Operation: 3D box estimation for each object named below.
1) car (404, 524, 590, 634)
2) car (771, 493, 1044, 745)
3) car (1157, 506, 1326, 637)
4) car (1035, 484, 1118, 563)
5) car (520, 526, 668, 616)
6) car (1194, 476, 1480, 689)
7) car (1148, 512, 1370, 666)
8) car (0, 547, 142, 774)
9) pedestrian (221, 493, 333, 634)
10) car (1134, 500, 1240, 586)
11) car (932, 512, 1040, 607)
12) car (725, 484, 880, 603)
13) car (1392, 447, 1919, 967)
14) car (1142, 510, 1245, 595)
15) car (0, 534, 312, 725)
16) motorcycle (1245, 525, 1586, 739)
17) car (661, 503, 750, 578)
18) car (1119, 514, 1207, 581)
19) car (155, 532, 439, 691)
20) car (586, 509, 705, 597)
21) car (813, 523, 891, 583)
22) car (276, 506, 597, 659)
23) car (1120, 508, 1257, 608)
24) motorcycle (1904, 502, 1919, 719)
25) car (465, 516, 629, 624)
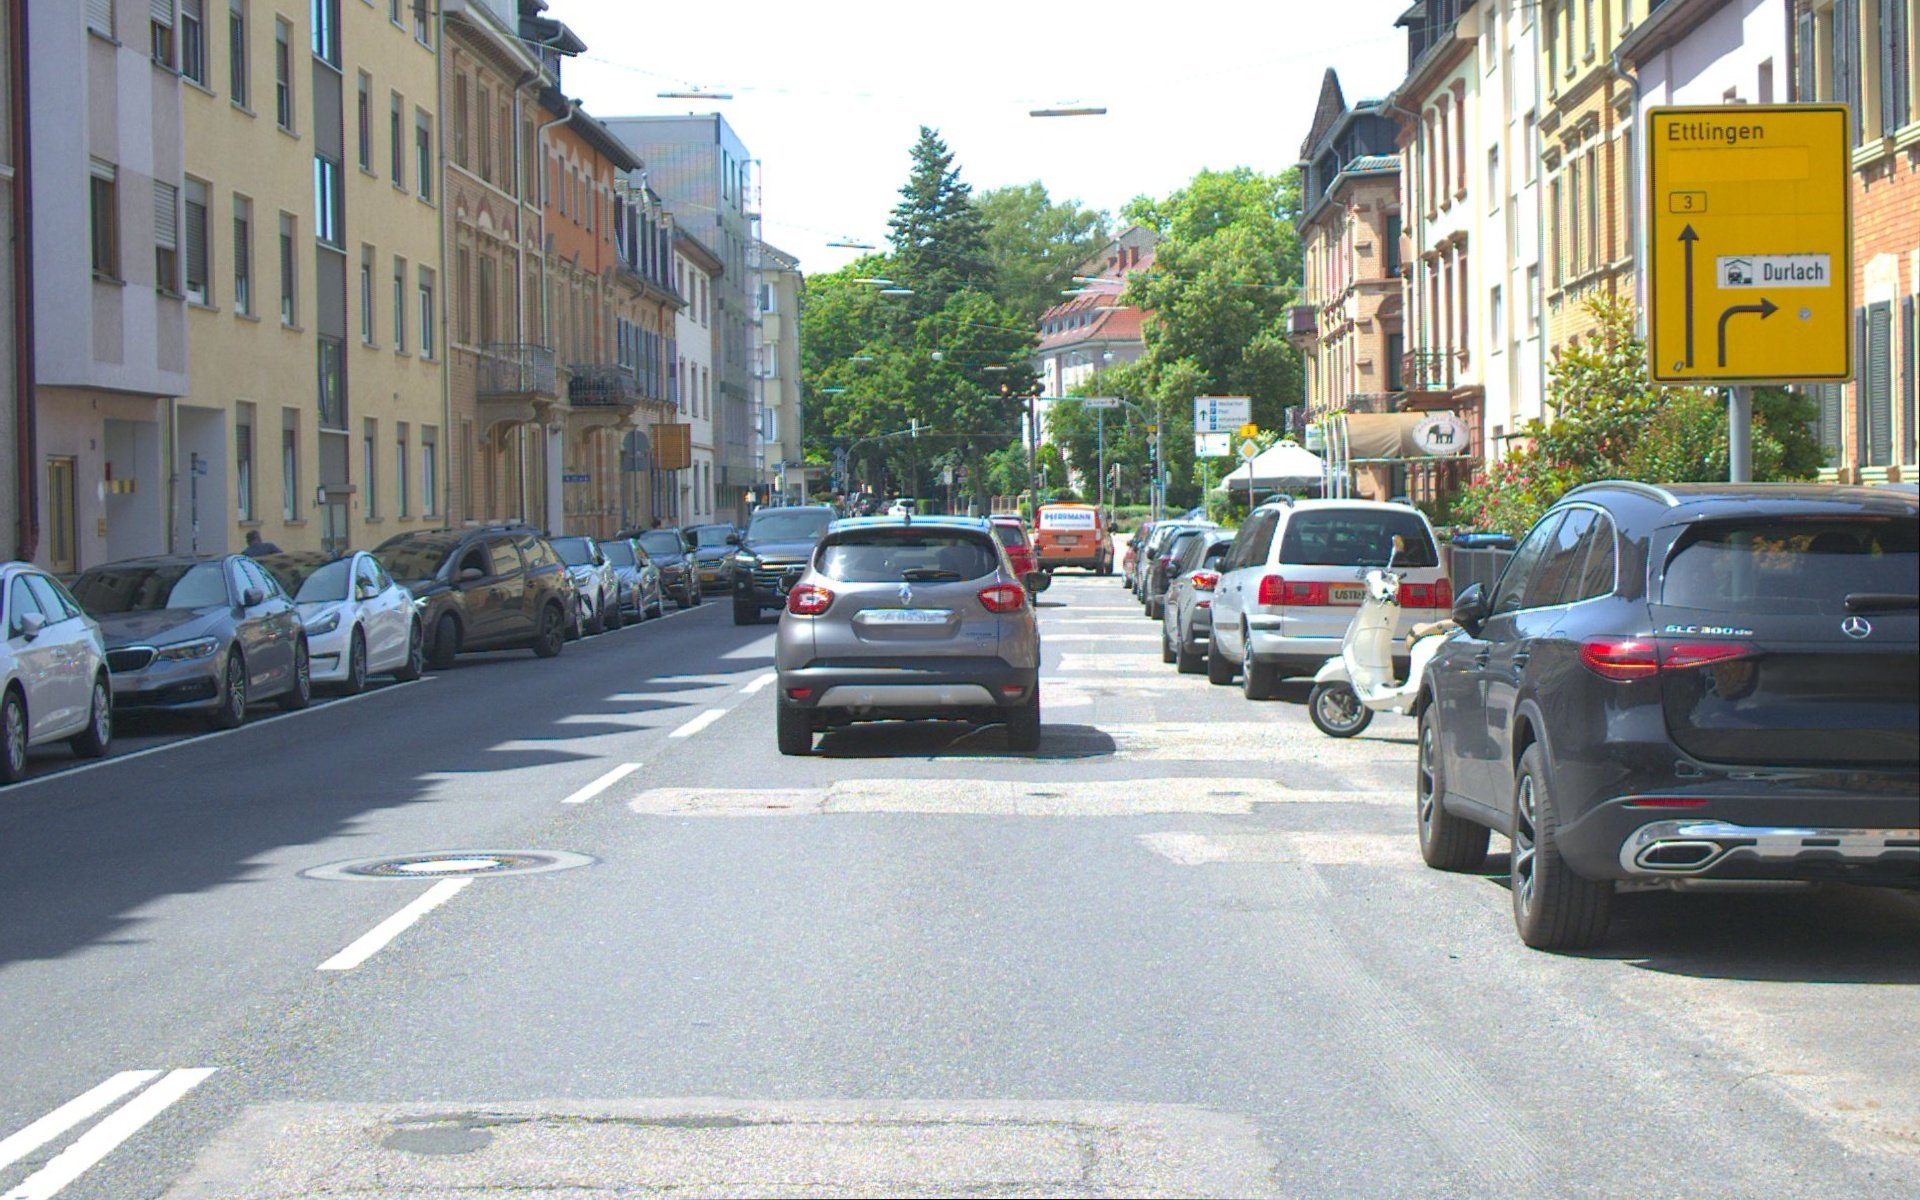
[{"bbox_3d":[-6.432,-0.327,48.145,1.905,1.374,4.061,-3,1,1],"label":"car"},{"bbox_3d":[-0.314,0.064,23.985,1.744,1.611,4.000,0,2,1],"label":"car"},{"bbox_3d":[3.403,-0.393,42.200,1.695,1.482,4.618,1,2,0],"label":"car"},{"bbox_3d":[3.158,-2.072,92.444,1.994,2.006,4.466,-1,2,4],"label":"car"},{"bbox_3d":[-6.261,-0.530,59.252,1.905,1.396,4.755,-3,1,1],"label":"car"},{"bbox_3d":[3.298,-0.209,30.962,1.860,1.742,4.619,1,2,-2],"label":"car"},{"bbox_3d":[3.094,-0.161,36.371,1.860,1.482,4.310,1,2,-1],"label":"car"},{"bbox_3d":[-7.023,0.393,23.506,1.839,1.417,4.503,-3,1,-2],"label":"car"},{"bbox_3d":[-8.656,-0.467,43.582,1.151,1.744,0.969,-1,1,3],"label":"pedestrian"},{"bbox_3d":[4.289,-1.100,65.387,1.860,1.548,4.000,1,2,2],"label":"car"},{"bbox_3d":[0.443,-0.764,63.292,1.812,1.615,4.442,-2,1,-1],"label":"car"},{"bbox_3d":[-2.484,-0.931,55.378,1.994,1.786,5.148,-1,1,3],"label":"car"},{"bbox_3d":[2.967,0.287,13.378,1.993,1.656,4.625,-1,1,0],"label":"car"},{"bbox_3d":[4.113,-0.874,61.075,1.660,1.436,4.000,1,2,2],"label":"car"},{"bbox_3d":[-6.880,0.196,29.434,1.839,1.417,4.647,-3,1,-2],"label":"car"},{"bbox_3d":[3.065,0.185,23.224,1.994,1.381,1.110,1,1,39],"label":"motorcycle"},{"bbox_3d":[-5.893,-1.390,80.009,1.904,1.614,4.303,-3,1,-3],"label":"car"},{"bbox_3d":[4.450,-1.176,75.727,1.611,1.438,3.437,0,1,-2],"label":"car"},{"bbox_3d":[-6.699,0.067,35.214,1.840,1.417,4.558,-4,1,2],"label":"car"},{"bbox_3d":[-6.248,-0.959,68.641,1.904,1.614,4.303,-3,1,0],"label":"car"},{"bbox_3d":[-2.622,-1.161,83.530,1.816,1.384,4.001,-1,2,-2],"label":"car"},{"bbox_3d":[-6.242,-0.249,41.562,1.906,1.632,4.554,-2,1,18],"label":"car"},{"bbox_3d":[3.553,-0.697,54.157,1.860,1.460,4.618,1,2,0],"label":"car"},{"bbox_3d":[7.237,0.031,21.914,2.129,1.403,0.937,-2,1,0],"label":"motorcycle"},{"bbox_3d":[-6.324,-0.497,53.053,1.905,1.505,4.302,-3,1,1],"label":"car"}]
